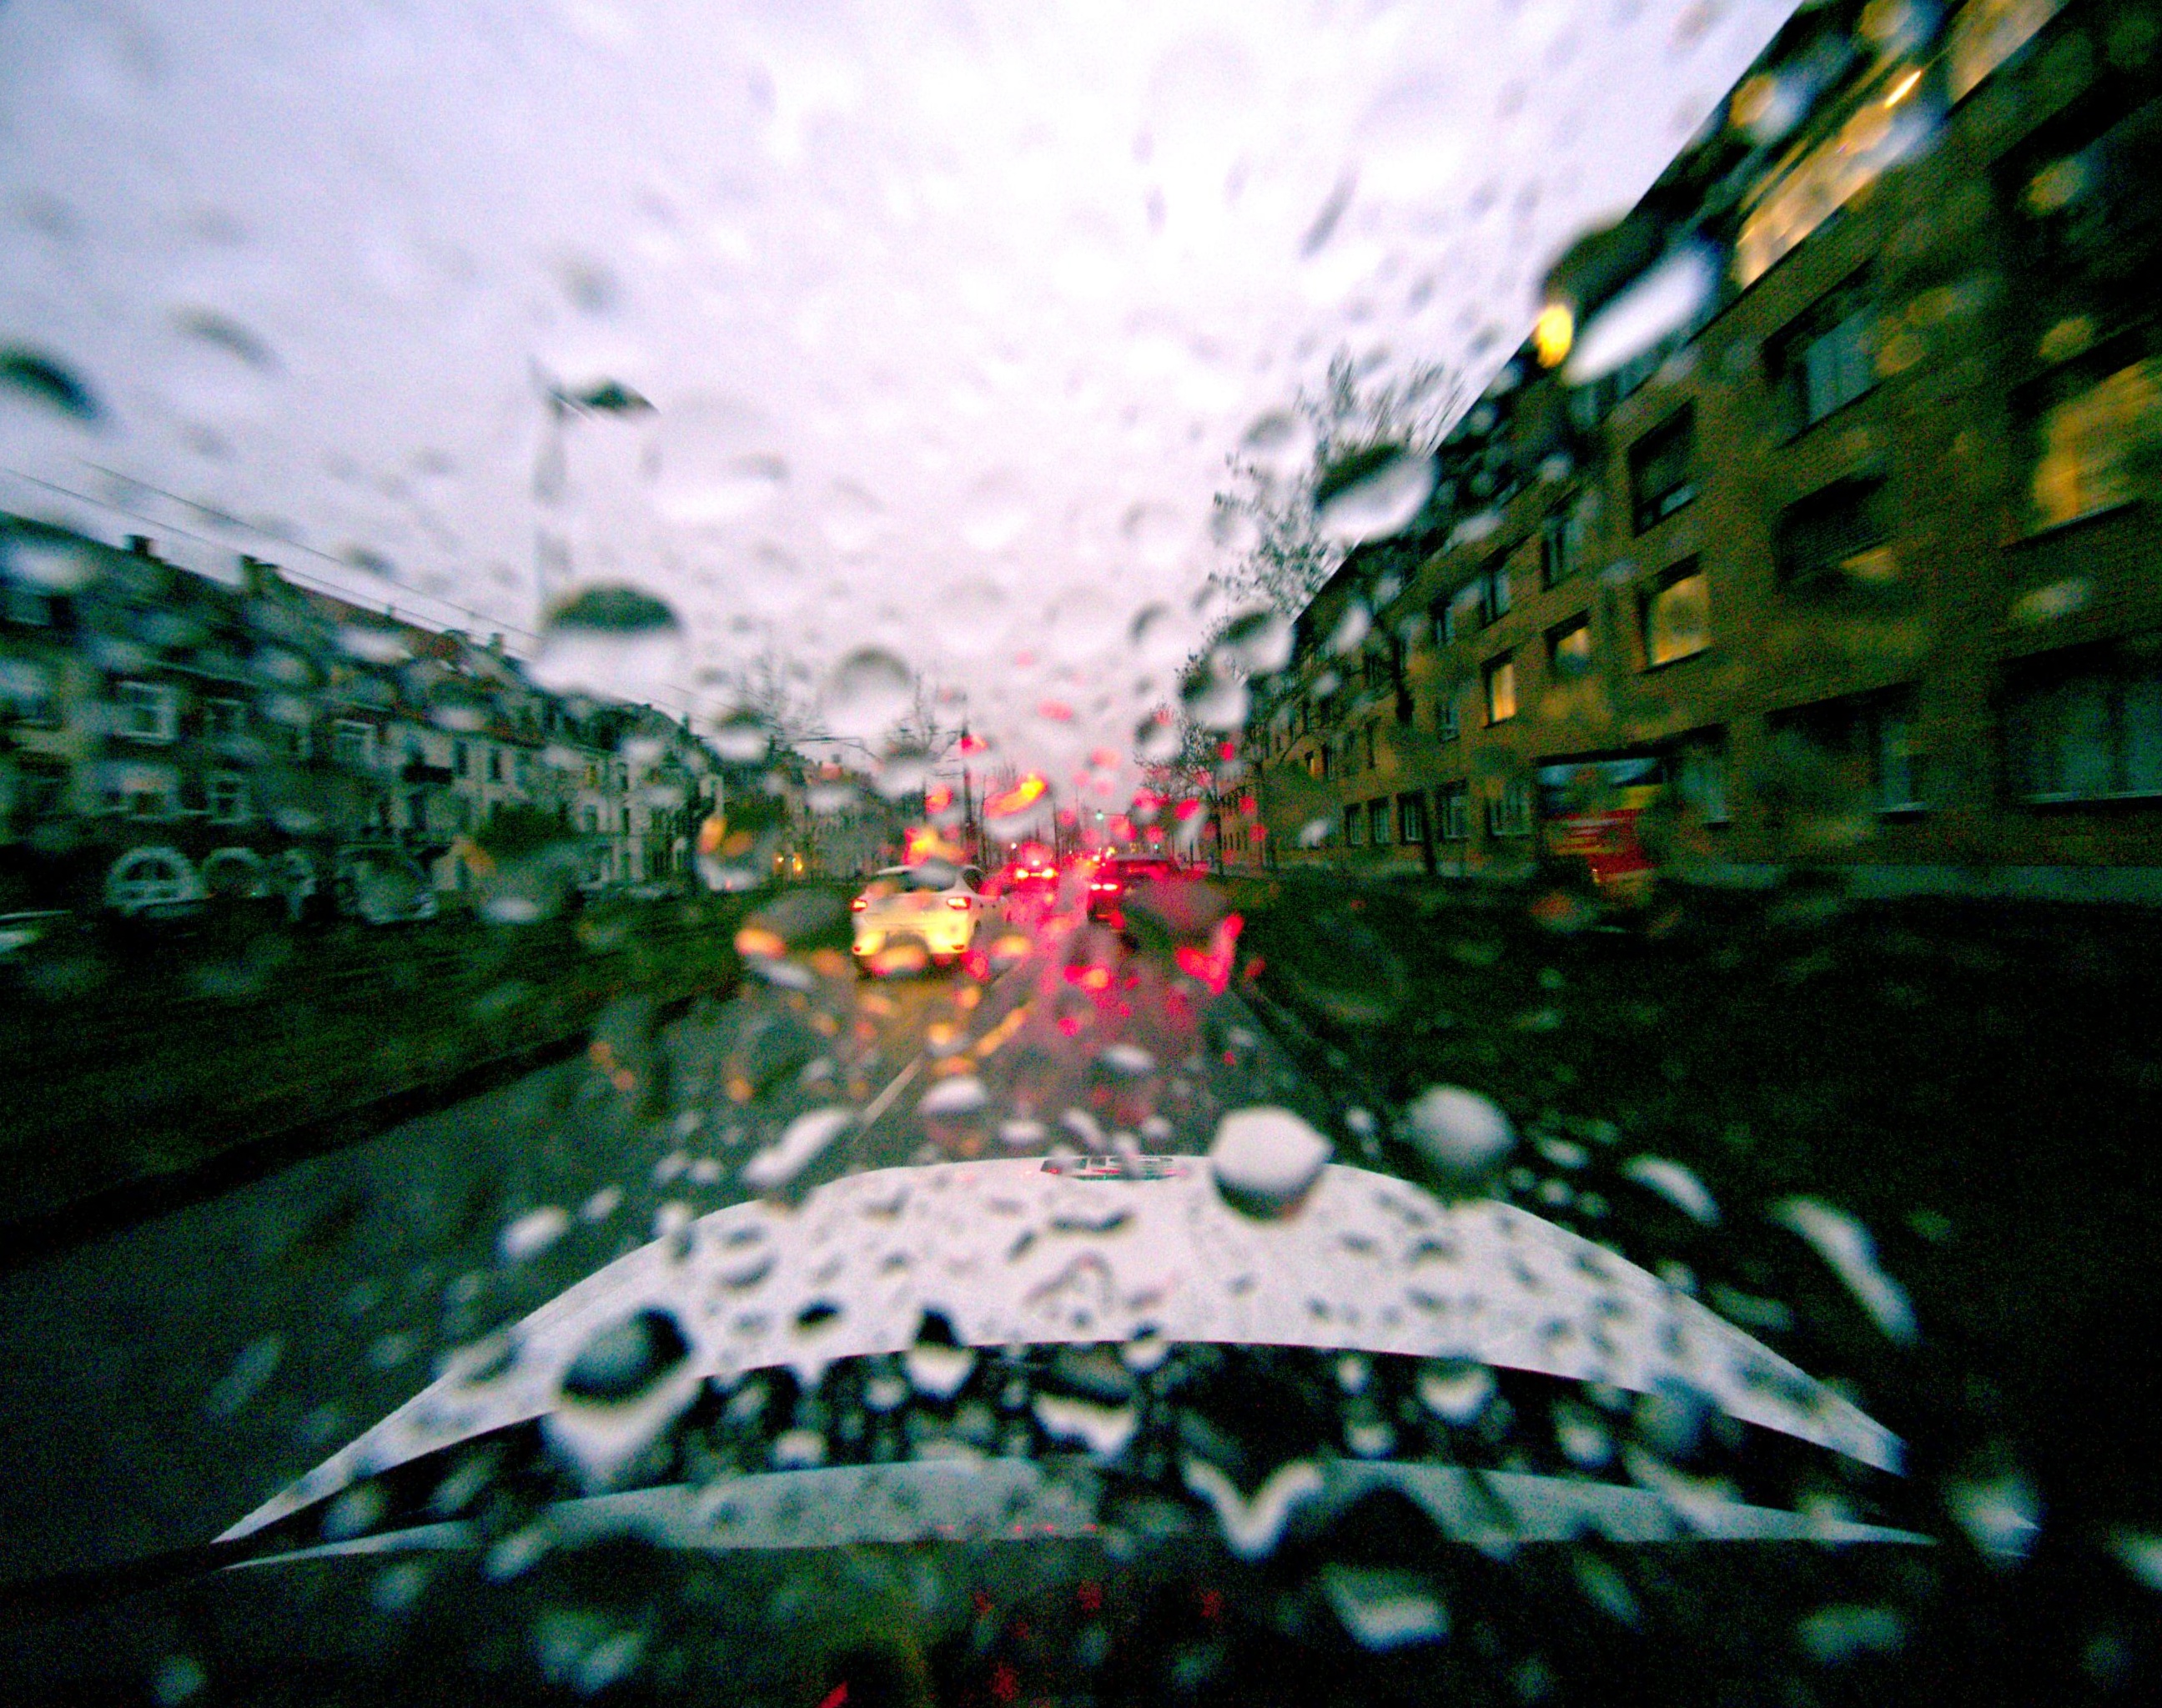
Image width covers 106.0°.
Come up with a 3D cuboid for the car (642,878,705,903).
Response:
[{"bbox_3d":[-25.728,2.328,51.401,3.948,1.332,2.013,-4,0,39],"label":"car"}]

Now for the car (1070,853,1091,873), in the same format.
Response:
[{"bbox_3d":[-0.006,0.958,86.627,1.986,2.013,4.002,-3,0,2],"label":"car"}]

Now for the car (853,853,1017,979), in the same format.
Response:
[{"bbox_3d":[-2.071,0.825,12.708,1.666,1.600,4.055,-2,0,2],"label":"car"}]

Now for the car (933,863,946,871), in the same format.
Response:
[{"bbox_3d":[-26.781,2.453,153.951,1.770,1.354,3.557,-3,0,0],"label":"car"}]

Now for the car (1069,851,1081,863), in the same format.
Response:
[{"bbox_3d":[-1.082,0.560,149.969,1.809,2.013,4.002,-3,0,2],"label":"car"}]

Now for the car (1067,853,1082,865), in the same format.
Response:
[{"bbox_3d":[-1.019,0.790,129.223,1.986,1.717,4.002,-3,0,2],"label":"car"}]

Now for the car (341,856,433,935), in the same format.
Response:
[{"bbox_3d":[-27.537,1.641,32.215,5.792,2.797,2.012,-4,-1,43],"label":"car"}]

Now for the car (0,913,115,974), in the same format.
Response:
[{"bbox_3d":[-27.496,2.336,21.655,3.948,1.332,2.013,-4,0,36],"label":"car"}]

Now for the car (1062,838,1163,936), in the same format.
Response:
[{"bbox_3d":[0.594,0.566,15.748,1.666,1.600,4.055,-2,0,2],"label":"car"}]

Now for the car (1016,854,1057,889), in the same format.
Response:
[{"bbox_3d":[-2.193,0.845,41.009,1.666,1.600,4.055,-2,0,2],"label":"car"}]

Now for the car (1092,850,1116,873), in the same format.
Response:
[{"bbox_3d":[1.723,0.578,61.360,1.666,1.600,4.055,-2,0,2],"label":"car"}]

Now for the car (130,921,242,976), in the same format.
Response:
[{"bbox_3d":[-27.339,2.818,24.848,3.948,1.332,2.013,-4,0,39],"label":"car"}]

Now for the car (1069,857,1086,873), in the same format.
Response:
[{"bbox_3d":[-0.435,1.338,102.210,1.933,1.838,4.002,-3,0,2],"label":"car"}]

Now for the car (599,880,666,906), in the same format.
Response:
[{"bbox_3d":[-26.382,2.312,47.883,3.948,1.332,2.013,-4,0,39],"label":"car"}]

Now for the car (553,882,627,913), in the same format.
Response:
[{"bbox_3d":[-27.012,2.399,44.793,3.948,1.486,2.013,-4,0,35],"label":"car"}]

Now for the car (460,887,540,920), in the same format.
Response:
[{"bbox_3d":[-27.360,2.330,38.310,3.948,1.332,2.013,-4,0,39],"label":"car"}]
